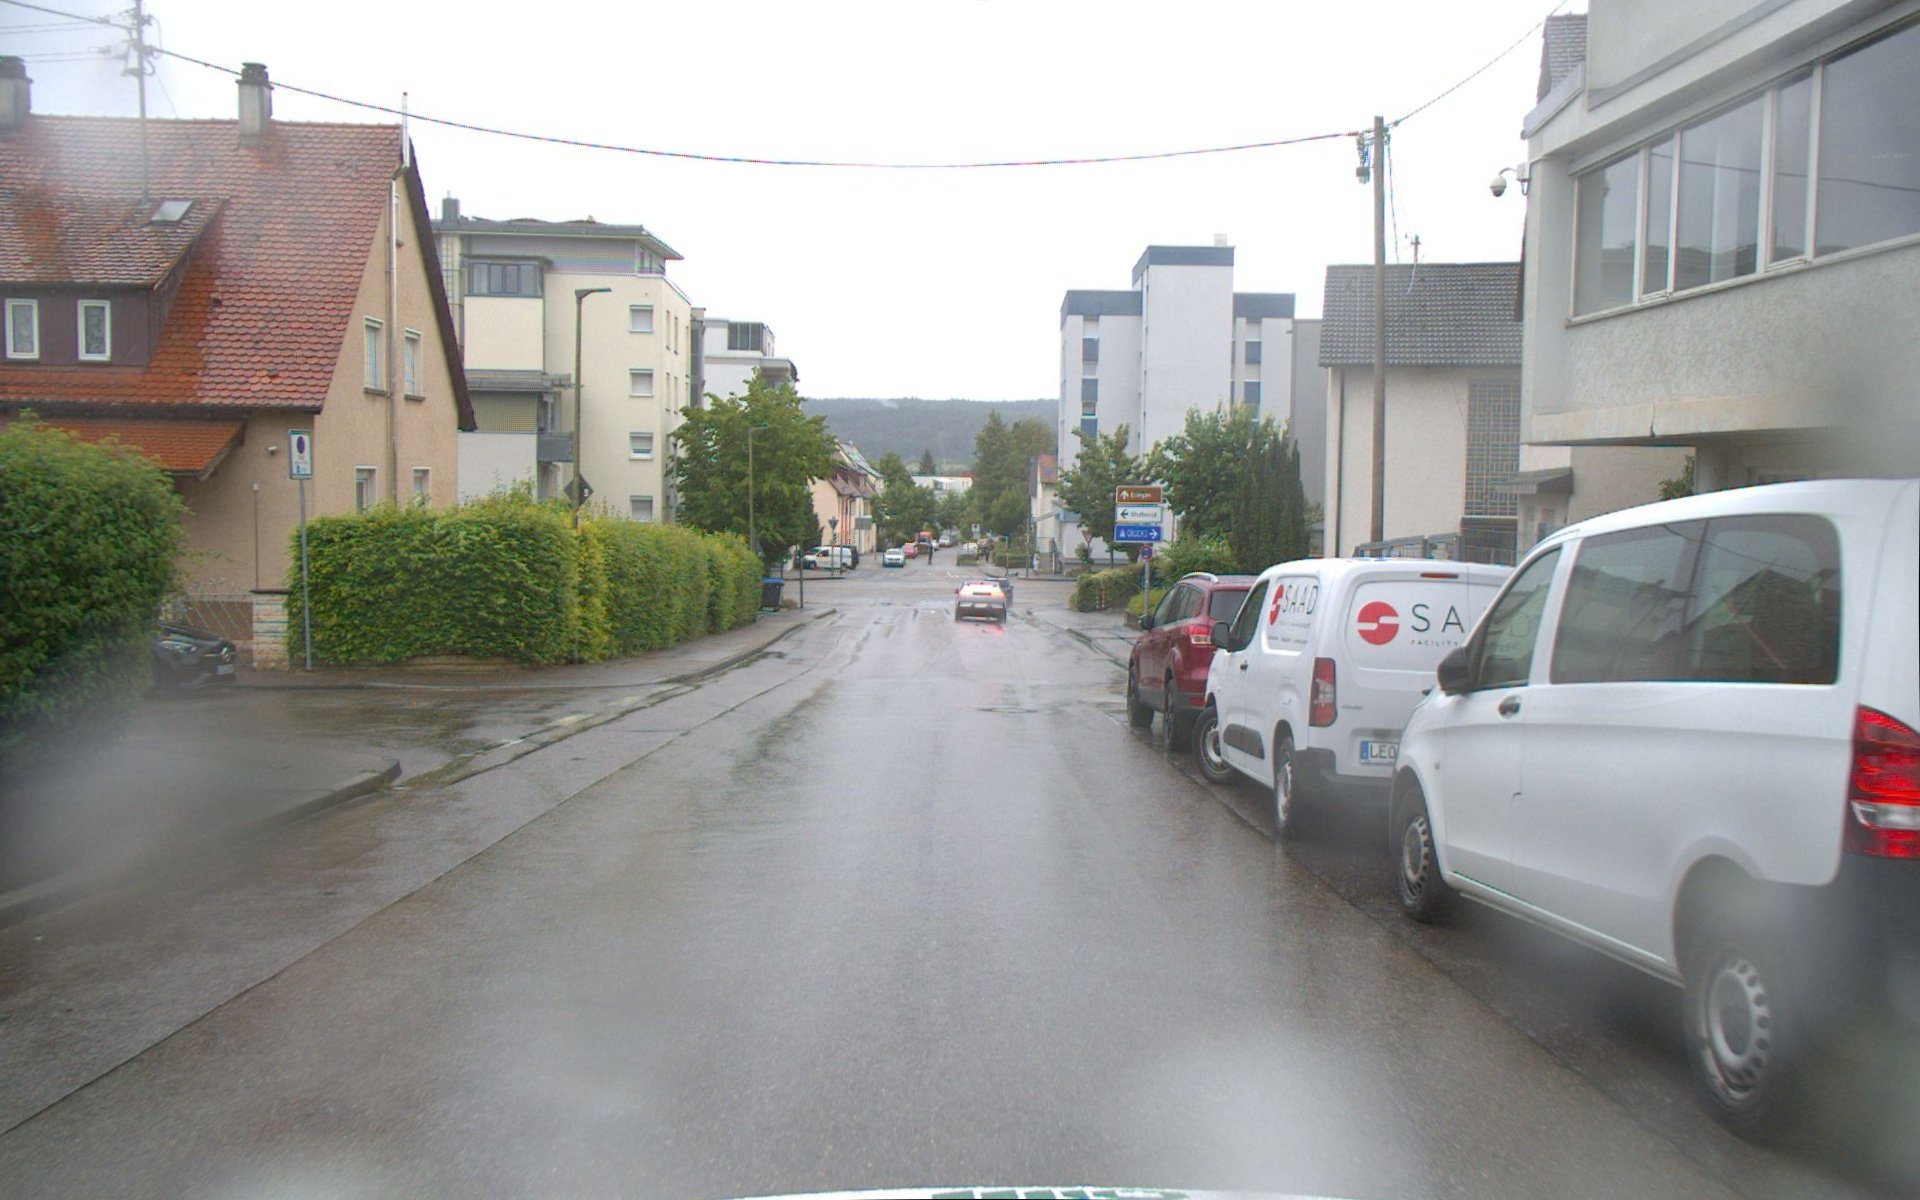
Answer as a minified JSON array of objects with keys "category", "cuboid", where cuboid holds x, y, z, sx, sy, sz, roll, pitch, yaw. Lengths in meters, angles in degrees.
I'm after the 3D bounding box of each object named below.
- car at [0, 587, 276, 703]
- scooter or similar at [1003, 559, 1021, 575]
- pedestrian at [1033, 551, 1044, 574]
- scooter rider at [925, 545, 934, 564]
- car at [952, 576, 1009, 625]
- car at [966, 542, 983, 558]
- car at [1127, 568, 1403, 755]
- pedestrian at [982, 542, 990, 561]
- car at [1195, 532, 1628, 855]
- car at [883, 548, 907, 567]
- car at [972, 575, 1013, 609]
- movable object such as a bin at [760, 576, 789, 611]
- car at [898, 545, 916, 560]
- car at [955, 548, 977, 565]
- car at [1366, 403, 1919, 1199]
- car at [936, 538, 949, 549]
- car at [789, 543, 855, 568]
[{"category":"car","cuboid":[-11.525,0.551,21.463,4.488,1.423,1.894,0,1,-1]},{"category":"scooter or similar","cuboid":[3.761,-2.384,119.374,1.243,1.100,0.876,-1,2,-5]},{"category":"pedestrian","cuboid":[5.731,-2.735,120.719,0.635,1.675,0.525,3,1,-7]},{"category":"scooter rider","cuboid":[-2.953,-4.455,160.963,0.738,1.827,0.671,-1,2,-11]},{"category":"car","cuboid":[0.758,-0.009,63.741,1.953,1.713,3.999,-1,2,-2]},{"category":"car","cuboid":[1.585,-5.591,184.216,1.862,1.775,4.192,-1,2,0]},{"category":"car","cuboid":[3.001,0.520,17.393,1.953,1.673,4.958,1,1,0]},{"category":"pedestrian","cuboid":[2.686,-4.985,169.574,0.730,1.881,0.526,0,0,4]},{"category":"car","cuboid":[2.944,0.515,11.855,1.840,1.865,4.489,1,1,0]},{"category":"car","cuboid":[-5.840,-3.800,148.553,1.953,1.654,4.192,-1,2,0]},{"category":"car","cuboid":[1.744,-0.457,89.370,1.953,1.713,3.999,-1,2,-2]},{"category":"movable object such as a bin","cuboid":[-7.639,-0.273,68.234,1.050,1.371,1.318,2,1,-3]},{"category":"car","cuboid":[-5.909,-5.357,184.995,1.862,1.585,4.192,-1,2,0]},{"category":"car","cuboid":[0.563,-4.255,162.328,2.102,1.616,4.129,-1,2,0]},{"category":"car","cuboid":[3.211,0.481,6.525,1.953,1.968,4.976,1,1,0]},{"category":"car","cuboid":[-2.492,-8.043,235.249,1.862,1.585,4.192,-1,2,0]},{"category":"car","cuboid":[-10.668,-3.451,128.094,4.797,1.867,1.972,-2,3,-39]}]
